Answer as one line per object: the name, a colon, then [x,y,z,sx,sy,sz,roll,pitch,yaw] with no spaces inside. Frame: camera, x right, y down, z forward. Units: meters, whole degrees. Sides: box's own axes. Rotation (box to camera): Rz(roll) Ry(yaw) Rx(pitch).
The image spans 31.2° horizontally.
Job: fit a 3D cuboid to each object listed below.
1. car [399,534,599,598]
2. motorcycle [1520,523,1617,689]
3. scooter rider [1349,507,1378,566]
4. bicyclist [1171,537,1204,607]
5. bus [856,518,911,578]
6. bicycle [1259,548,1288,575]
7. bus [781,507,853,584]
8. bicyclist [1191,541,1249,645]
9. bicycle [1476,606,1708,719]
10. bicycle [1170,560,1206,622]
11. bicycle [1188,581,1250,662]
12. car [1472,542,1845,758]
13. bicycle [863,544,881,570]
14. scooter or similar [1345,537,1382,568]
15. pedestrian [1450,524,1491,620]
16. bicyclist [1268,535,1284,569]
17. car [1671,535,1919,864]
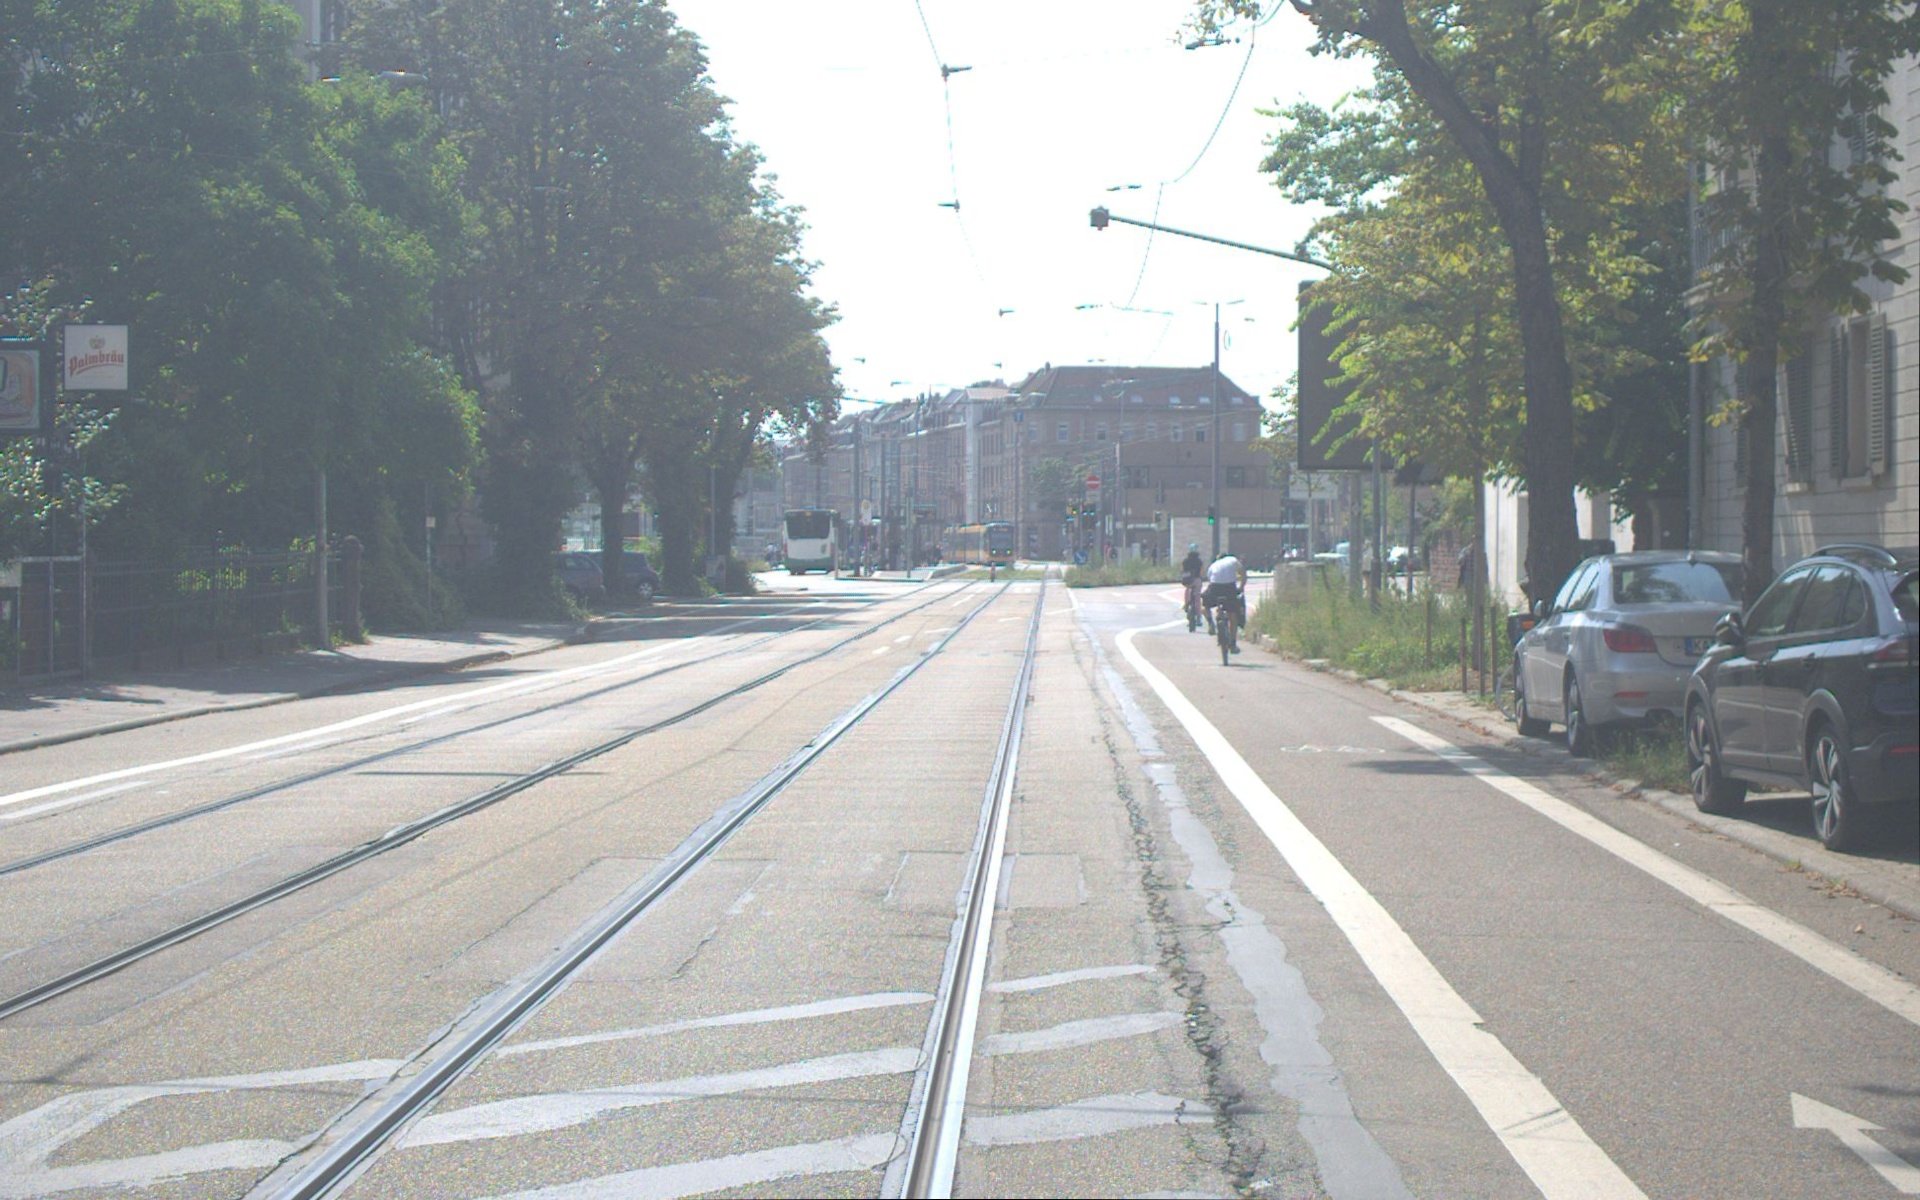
car: [-11.074,-0.818,82.623,4.414,1.457,1.821,0,1,-25]
motorcycle: [5.903,0.041,33.430,0.886,1.547,2.411,-1,1,10]
scooter rider: [12.188,-1.913,103.849,0.762,1.769,0.554,0,1,18]
bicyclist: [4.380,-0.544,66.182,0.603,1.330,0.659,0,1,7]
bus: [-4.870,-3.307,220.153,2.710,3.714,10.418,1,1,3]
bicycle: [13.052,-1.620,142.977,0.445,1.113,1.443,0,1,41]
bus: [-7.202,-2.738,174.611,2.958,3.762,10.596,1,1,1]
bicyclist: [3.561,-0.100,47.189,0.745,1.407,0.962,0,1,2]
bicycle: [5.473,0.536,29.847,1.923,0.949,0.721,0,1,5]
bicycle: [4.400,-0.178,66.278,0.604,1.159,1.810,0,1,6]
bicycle: [3.547,0.276,47.163,0.739,1.045,2.233,0,1,2]
car: [5.139,0.301,25.917,1.782,1.445,4.752,-1,1,-1]
bicycle: [-4.115,-2.003,161.172,0.607,1.218,1.705,0,1,6]
scooter or similar: [12.186,-1.446,103.877,0.773,0.923,1.619,1,1,19]
pedestrian: [9.287,-0.515,62.509,0.692,1.726,0.579,0,1,4]
bicyclist: [13.154,-2.004,143.100,0.451,1.416,0.494,0,1,41]
car: [5.065,0.418,18.104,1.663,1.502,4.435,-1,1,-1]
